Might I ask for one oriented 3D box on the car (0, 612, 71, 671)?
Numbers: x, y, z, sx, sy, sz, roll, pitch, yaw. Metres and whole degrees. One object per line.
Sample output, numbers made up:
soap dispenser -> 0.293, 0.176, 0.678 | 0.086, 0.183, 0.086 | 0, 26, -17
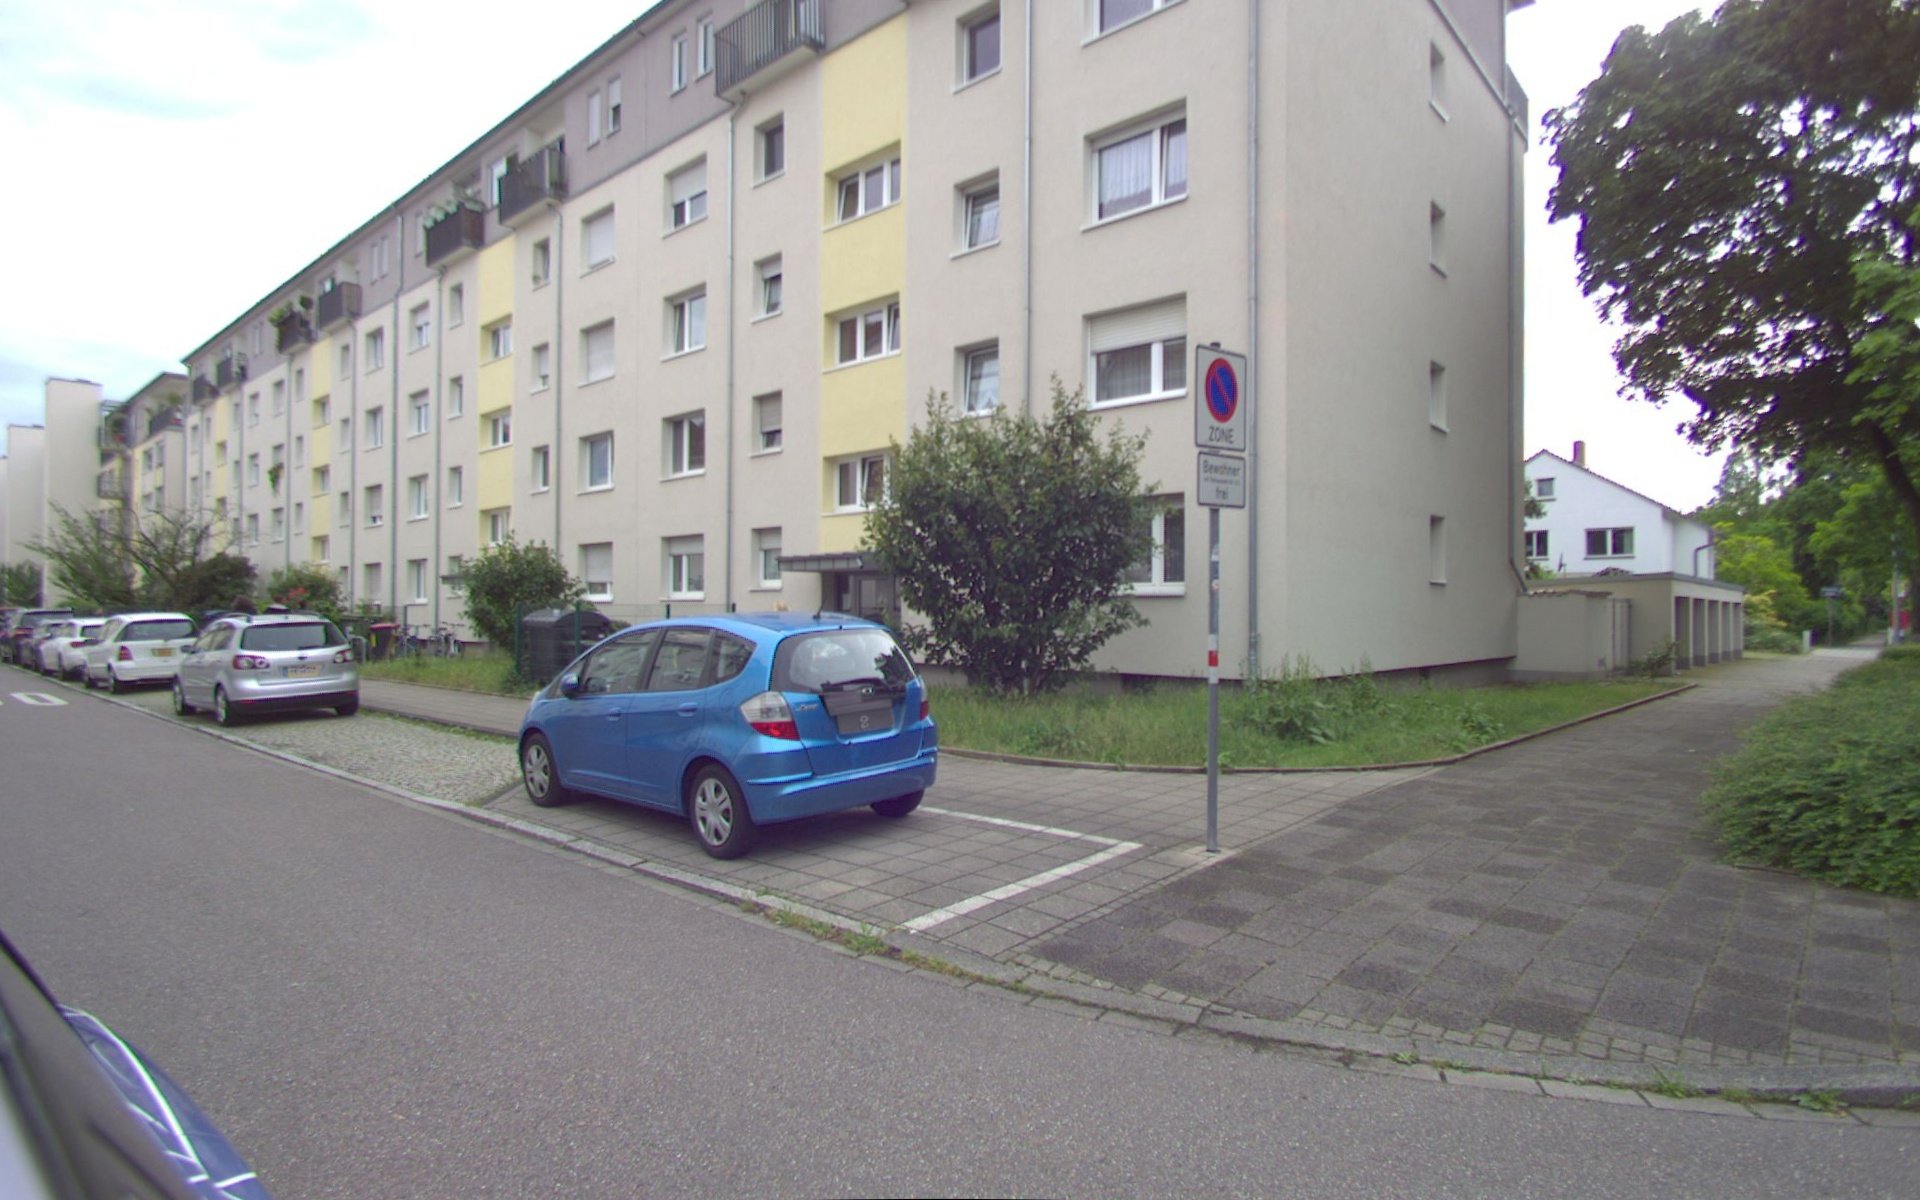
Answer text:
car -> -30.214, 1.321, 32.791 | 4.450, 1.794, 1.554 | -2, -2, 41

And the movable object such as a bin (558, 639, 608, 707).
movable object such as a bin -> -5.987, 1.150, 16.074 | 0.598, 1.041, 0.531 | -2, -2, 41

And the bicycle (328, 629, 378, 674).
bicycle -> -14.493, 1.201, 24.140 | 1.878, 1.032, 0.483 | -1, -2, 42

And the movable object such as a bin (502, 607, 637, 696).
movable object such as a bin -> -6.698, 0.850, 17.358 | 1.670, 1.432, 1.572 | -2, -2, 41

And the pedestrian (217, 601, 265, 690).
pedestrian -> -15.680, 0.983, 22.066 | 0.974, 1.877, 0.633 | -1, 0, 42

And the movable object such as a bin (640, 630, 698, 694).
movable object such as a bin -> -5.303, 1.113, 18.453 | 0.597, 1.125, 0.833 | -2, -2, 39

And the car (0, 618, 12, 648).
car -> -47.346, 1.611, 48.963 | 3.539, 1.455, 1.685 | -2, -2, 39

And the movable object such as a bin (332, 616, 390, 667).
movable object such as a bin -> -17.073, 1.153, 28.856 | 1.187, 1.385, 1.047 | 1, 0, 37

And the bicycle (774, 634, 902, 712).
bicycle -> -1.845, 1.042, 15.046 | 2.175, 1.079, 0.650 | -2, -2, 43

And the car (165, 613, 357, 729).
car -> -10.901, 1.010, 15.685 | 3.915, 1.562, 1.636 | -1, -1, 43

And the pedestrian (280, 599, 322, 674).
pedestrian -> -14.973, 0.816, 23.001 | 0.803, 1.669, 0.608 | -1, -2, 42

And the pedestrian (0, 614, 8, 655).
pedestrian -> -39.388, 1.399, 41.375 | 0.621, 1.679, 0.596 | -1, -2, 39

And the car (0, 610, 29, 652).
car -> -42.735, 1.362, 44.845 | 3.539, 1.820, 1.685 | -2, -2, 39

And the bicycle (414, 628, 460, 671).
bicycle -> -13.119, 1.225, 25.376 | 1.557, 1.032, 0.416 | -1, -2, 39

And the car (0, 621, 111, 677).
car -> -25.745, 1.322, 28.745 | 4.479, 1.464, 1.708 | -1, -1, 40

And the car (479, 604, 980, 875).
car -> -1.914, 0.818, 7.654 | 3.956, 1.473, 1.712 | -1, 1, 42

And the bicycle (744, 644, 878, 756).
bicycle -> -1.689, 1.066, 11.254 | 0.530, 1.128, 1.820 | 1, -2, -43

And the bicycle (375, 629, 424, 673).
bicycle -> -13.717, 1.224, 24.736 | 1.754, 1.032, 0.473 | -1, -2, 41

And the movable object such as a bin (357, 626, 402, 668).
movable object such as a bin -> -16.191, 1.291, 28.239 | 0.786, 1.117, 0.861 | 1, 0, 38

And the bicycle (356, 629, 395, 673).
bicycle -> -14.103, 1.224, 24.425 | 1.497, 1.032, 0.352 | -1, -2, 41

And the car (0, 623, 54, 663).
car -> -35.054, 1.570, 37.591 | 3.539, 1.408, 1.555 | -2, -2, 40

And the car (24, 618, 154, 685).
car -> -21.847, 1.245, 25.332 | 4.683, 1.521, 1.701 | -2, -2, 40

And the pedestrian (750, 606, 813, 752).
pedestrian -> -1.974, 0.850, 11.160 | 0.441, 1.561, 0.568 | 1, -2, -44

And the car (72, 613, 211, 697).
car -> -17.591, 1.121, 21.692 | 3.725, 1.651, 1.668 | -1, -2, 41

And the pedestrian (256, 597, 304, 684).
pedestrian -> -14.916, 0.882, 22.196 | 0.763, 1.868, 0.699 | -1, -2, 42

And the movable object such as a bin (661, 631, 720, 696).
movable object such as a bin -> -4.796, 1.116, 18.024 | 0.597, 1.125, 0.833 | -2, -2, 39

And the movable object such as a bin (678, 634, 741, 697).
movable object such as a bin -> -4.341, 1.117, 17.550 | 0.633, 1.059, 0.855 | -2, -2, 40
